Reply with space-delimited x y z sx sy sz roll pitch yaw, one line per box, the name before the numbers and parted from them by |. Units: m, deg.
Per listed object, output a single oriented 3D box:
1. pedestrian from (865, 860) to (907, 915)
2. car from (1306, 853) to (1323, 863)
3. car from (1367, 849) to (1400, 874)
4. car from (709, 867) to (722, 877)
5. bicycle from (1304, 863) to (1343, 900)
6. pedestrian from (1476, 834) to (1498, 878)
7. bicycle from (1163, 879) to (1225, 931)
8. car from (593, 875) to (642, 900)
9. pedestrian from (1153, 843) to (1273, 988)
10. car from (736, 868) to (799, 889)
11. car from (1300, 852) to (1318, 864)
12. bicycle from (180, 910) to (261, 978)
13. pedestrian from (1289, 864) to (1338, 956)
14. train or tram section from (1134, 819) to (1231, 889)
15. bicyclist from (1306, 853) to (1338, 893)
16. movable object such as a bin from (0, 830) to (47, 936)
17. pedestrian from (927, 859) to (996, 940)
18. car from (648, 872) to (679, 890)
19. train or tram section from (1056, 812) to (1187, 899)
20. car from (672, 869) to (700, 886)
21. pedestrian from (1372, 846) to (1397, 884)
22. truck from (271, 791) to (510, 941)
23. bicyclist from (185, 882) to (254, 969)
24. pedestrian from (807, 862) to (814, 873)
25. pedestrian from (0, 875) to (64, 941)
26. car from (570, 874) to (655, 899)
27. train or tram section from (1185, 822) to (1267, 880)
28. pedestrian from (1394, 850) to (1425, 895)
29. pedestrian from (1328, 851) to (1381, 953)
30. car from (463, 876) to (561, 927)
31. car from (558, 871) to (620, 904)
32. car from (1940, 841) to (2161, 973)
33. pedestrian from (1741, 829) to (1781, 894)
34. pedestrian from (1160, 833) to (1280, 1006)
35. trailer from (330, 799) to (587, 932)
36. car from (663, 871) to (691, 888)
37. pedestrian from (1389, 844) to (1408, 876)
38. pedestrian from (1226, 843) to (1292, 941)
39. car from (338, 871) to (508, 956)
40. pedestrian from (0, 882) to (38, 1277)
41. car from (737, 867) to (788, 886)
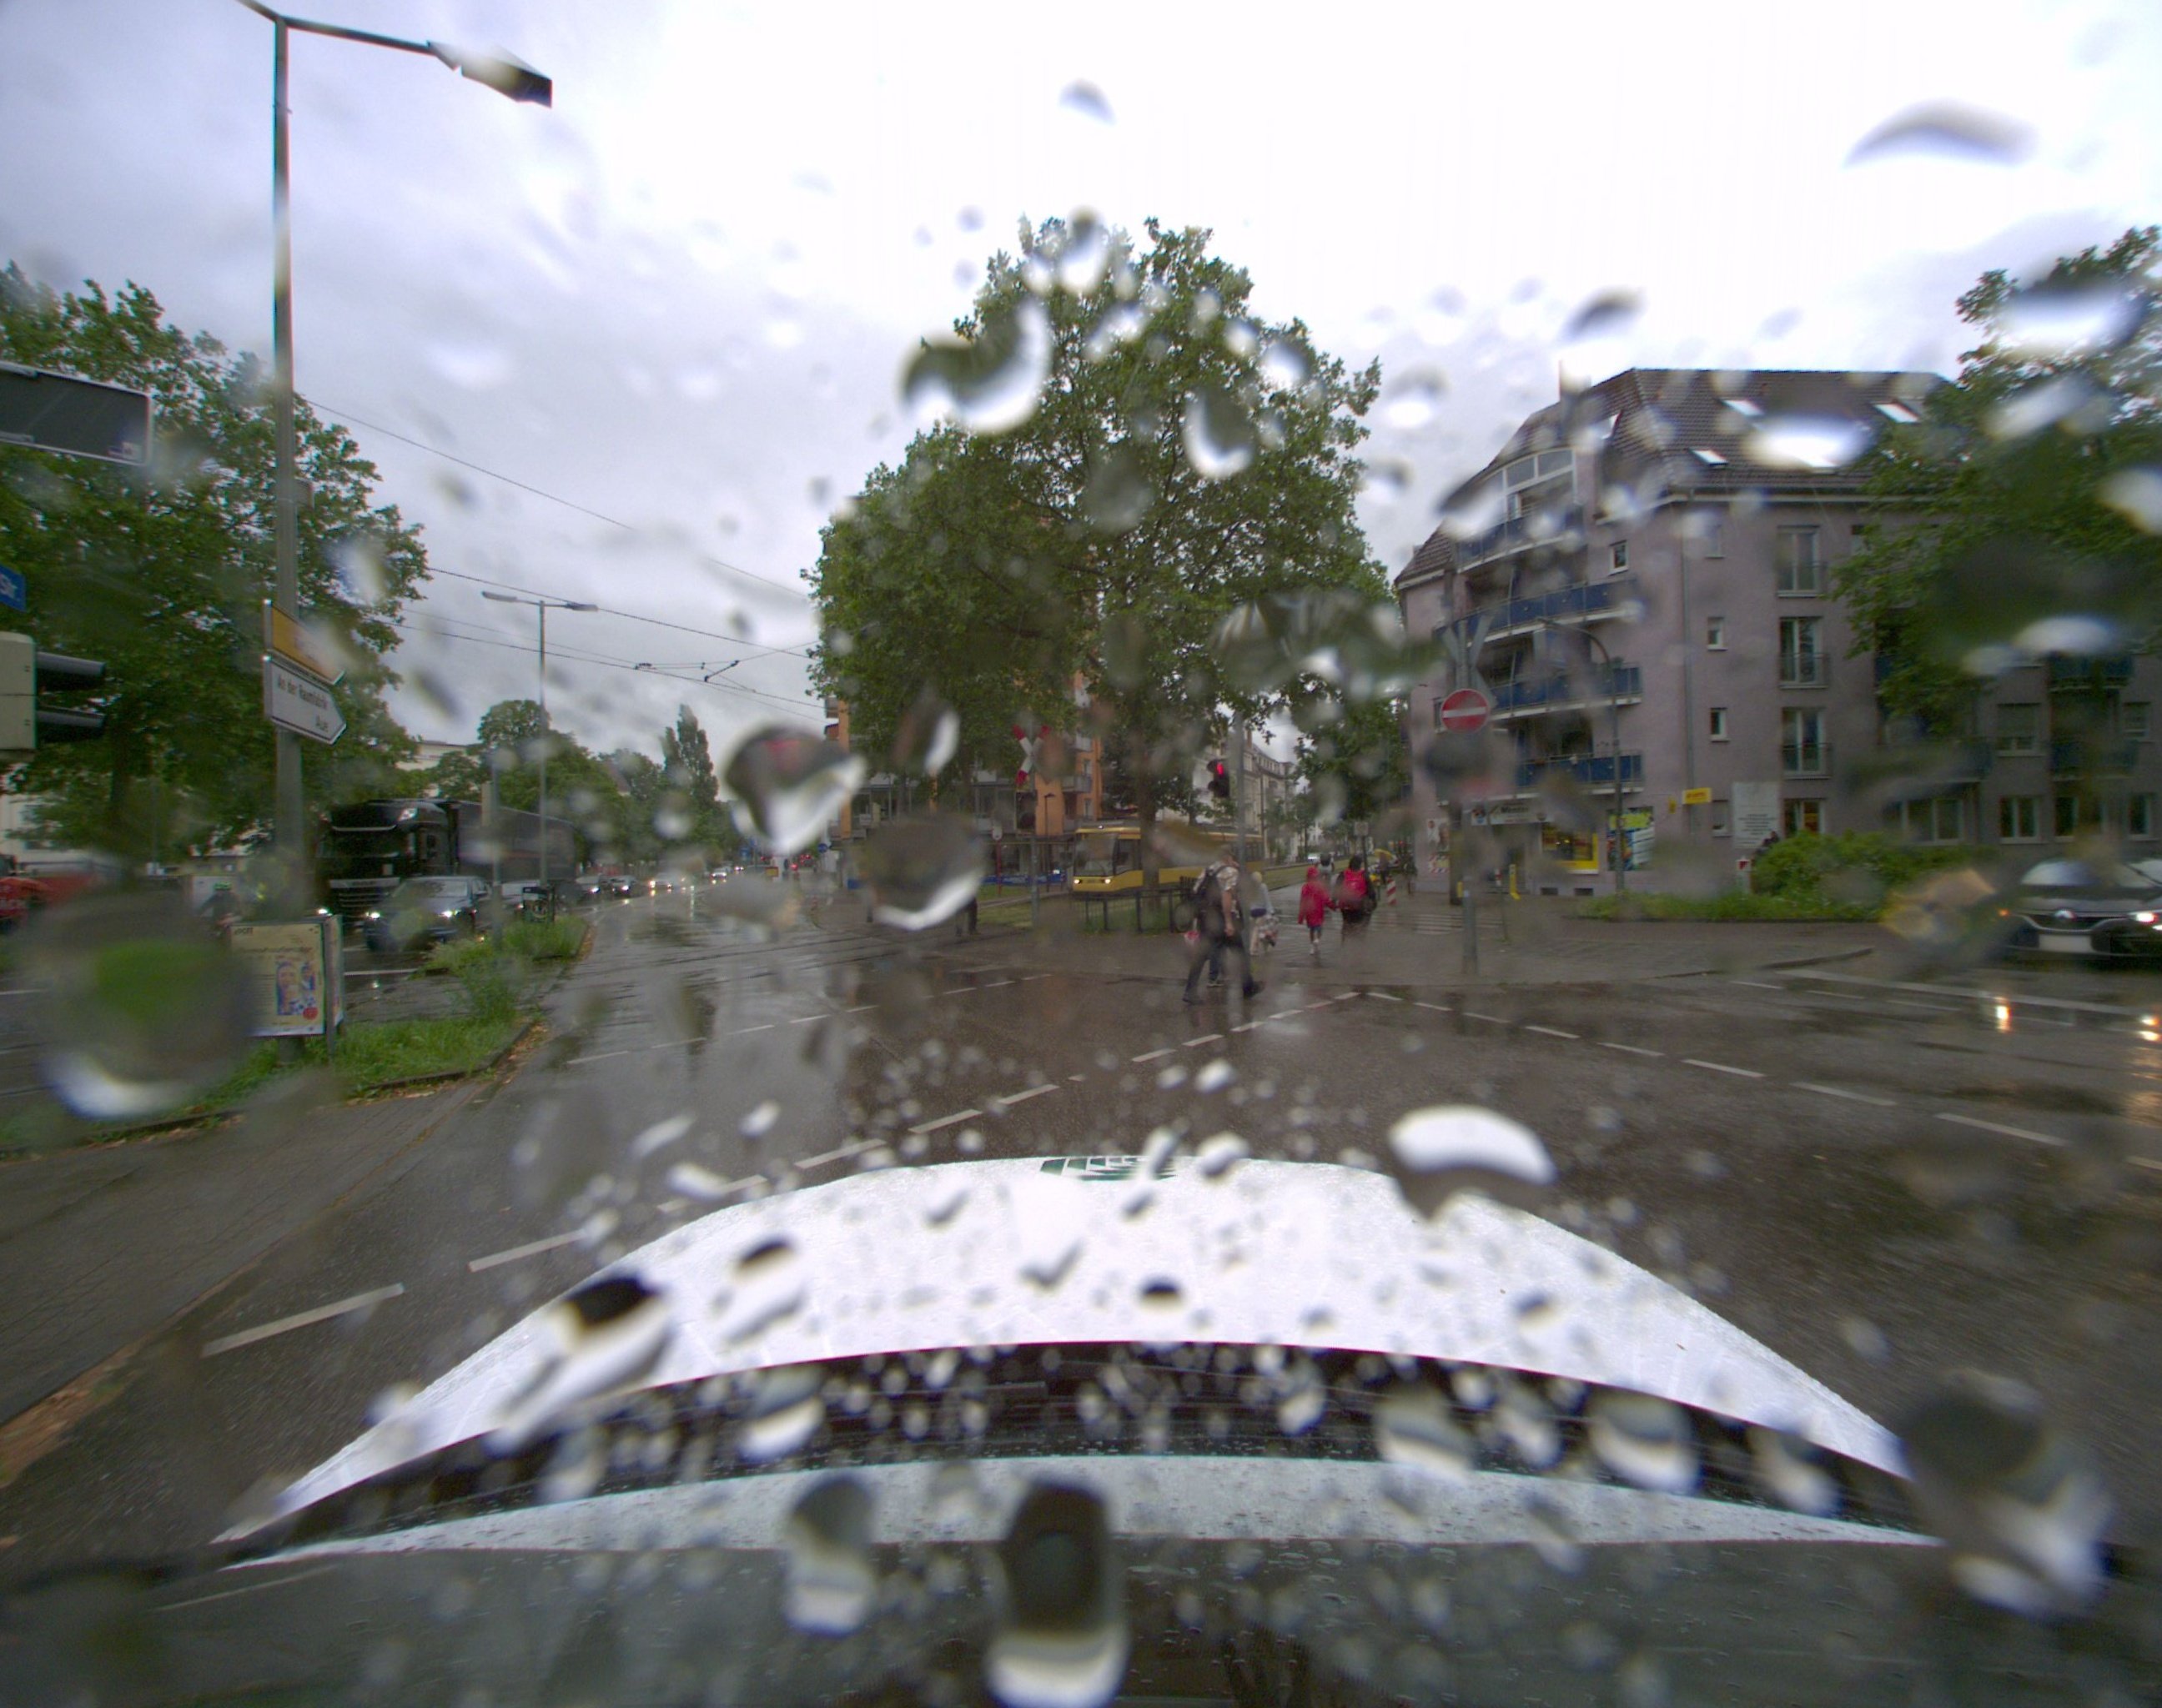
pedestrian | -6.905 1.147 28.818 1.176 1.865 1.374 -1 0 -25
car | 33.001 0.559 114.963 1.977 1.398 4.020 -1 0 20
car | 21.350 0.489 57.373 1.976 1.673 4.022 -2 0 23
car | -61.087 3.060 136.051 1.785 1.530 3.966 0 1 -26
bicycle | 8.365 0.937 28.178 0.748 1.173 2.042 -2 0 1
pedestrian | 14.781 0.071 29.641 0.597 1.602 0.467 -1 -1 -40
bicycle | 2.555 1.122 18.298 1.628 1.077 0.440 -1 0 -45
car | -28.855 2.066 50.785 1.731 1.361 4.311 -2 0 -17
pedestrian | 1.668 0.733 10.331 1.061 1.686 0.985 -2 0 -36
car | -25.112 1.920 65.374 4.548 1.470 1.970 -2 -1 -20
car | 30.759 0.563 109.584 1.977 1.533 4.020 -1 0 20
bicycle | -15.424 1.583 14.641 0.535 1.024 1.855 -2 0 -32
pedestrian | 3.712 0.871 13.070 0.666 1.381 1.014 -2 0 13
train or tram section | 5.617 0.000 43.531 2.613 3.351 8.424 -1 0 25
bicyclist | 8.335 0.639 28.251 0.738 1.309 1.077 -2 0 -1
movable object such as a bin | -33.353 0.868 21.881 6.754 2.930 2.766 -1 0 -9
pedestrian | -2.762 1.020 18.853 1.044 1.788 1.222 -1 -1 -43
car | -35.624 2.297 69.587 1.781 1.403 4.796 -1 -1 -21
train or tram section | 2.039 0.059 35.908 2.613 3.369 8.425 -1 0 26
car | -40.191 2.375 82.904 1.919 1.639 4.792 -1 -1 -18
pedestrian | 13.707 0.496 36.796 0.944 1.697 0.926 -2 0 23
truck | -21.472 0.316 25.978 3.461 4.078 6.928 -1 0 -19
bicyclist | -15.422 1.258 14.604 0.583 1.461 1.001 -2 0 -32
pedestrian | -45.235 2.312 136.068 1.064 1.811 1.088 -1 -1 -14
pedestrian | -27.671 1.414 21.457 0.744 1.649 0.913 -2 0 25
car | -32.069 2.224 55.784 4.878 1.454 2.094 -2 0 13
train or tram section | 9.451 -0.195 51.956 2.613 3.351 10.044 -1 0 25
pedestrian | 11.865 0.660 29.417 0.982 1.559 0.788 -2 0 24
pedestrian | 4.294 0.737 12.818 0.685 1.547 0.764 -2 0 13
car | -18.251 1.469 26.306 1.705 1.373 4.069 -1 0 -22
car | -27.095 1.851 45.004 1.873 1.619 4.772 -2 -2 -18
car | 13.681 0.578 10.916 4.188 1.461 1.976 -1 0 -29
pedestrian | 19.137 0.207 22.927 0.623 1.804 0.637 -2 0 -26
pedestrian | 1.551 0.676 9.066 0.999 1.781 0.802 -2 0 -39
trailer | -23.698 0.354 32.567 3.453 4.049 14.953 -2 0 -19
car | -37.933 2.372 76.490 1.784 1.420 4.238 -2 0 -19
pedestrian | 17.457 0.308 44.766 0.910 1.697 0.961 -2 0 21
pedestrian | 2.936 0.600 13.364 0.868 1.525 1.070 -2 0 21
car | -15.953 1.342 20.078 2.084 1.682 4.889 1 0 -25
pedestrian | -4.719 0.921 3.018 0.867 1.581 0.636 -2 0 -36
car | -28.756 2.039 73.562 4.205 1.568 1.875 -2 -1 -21
